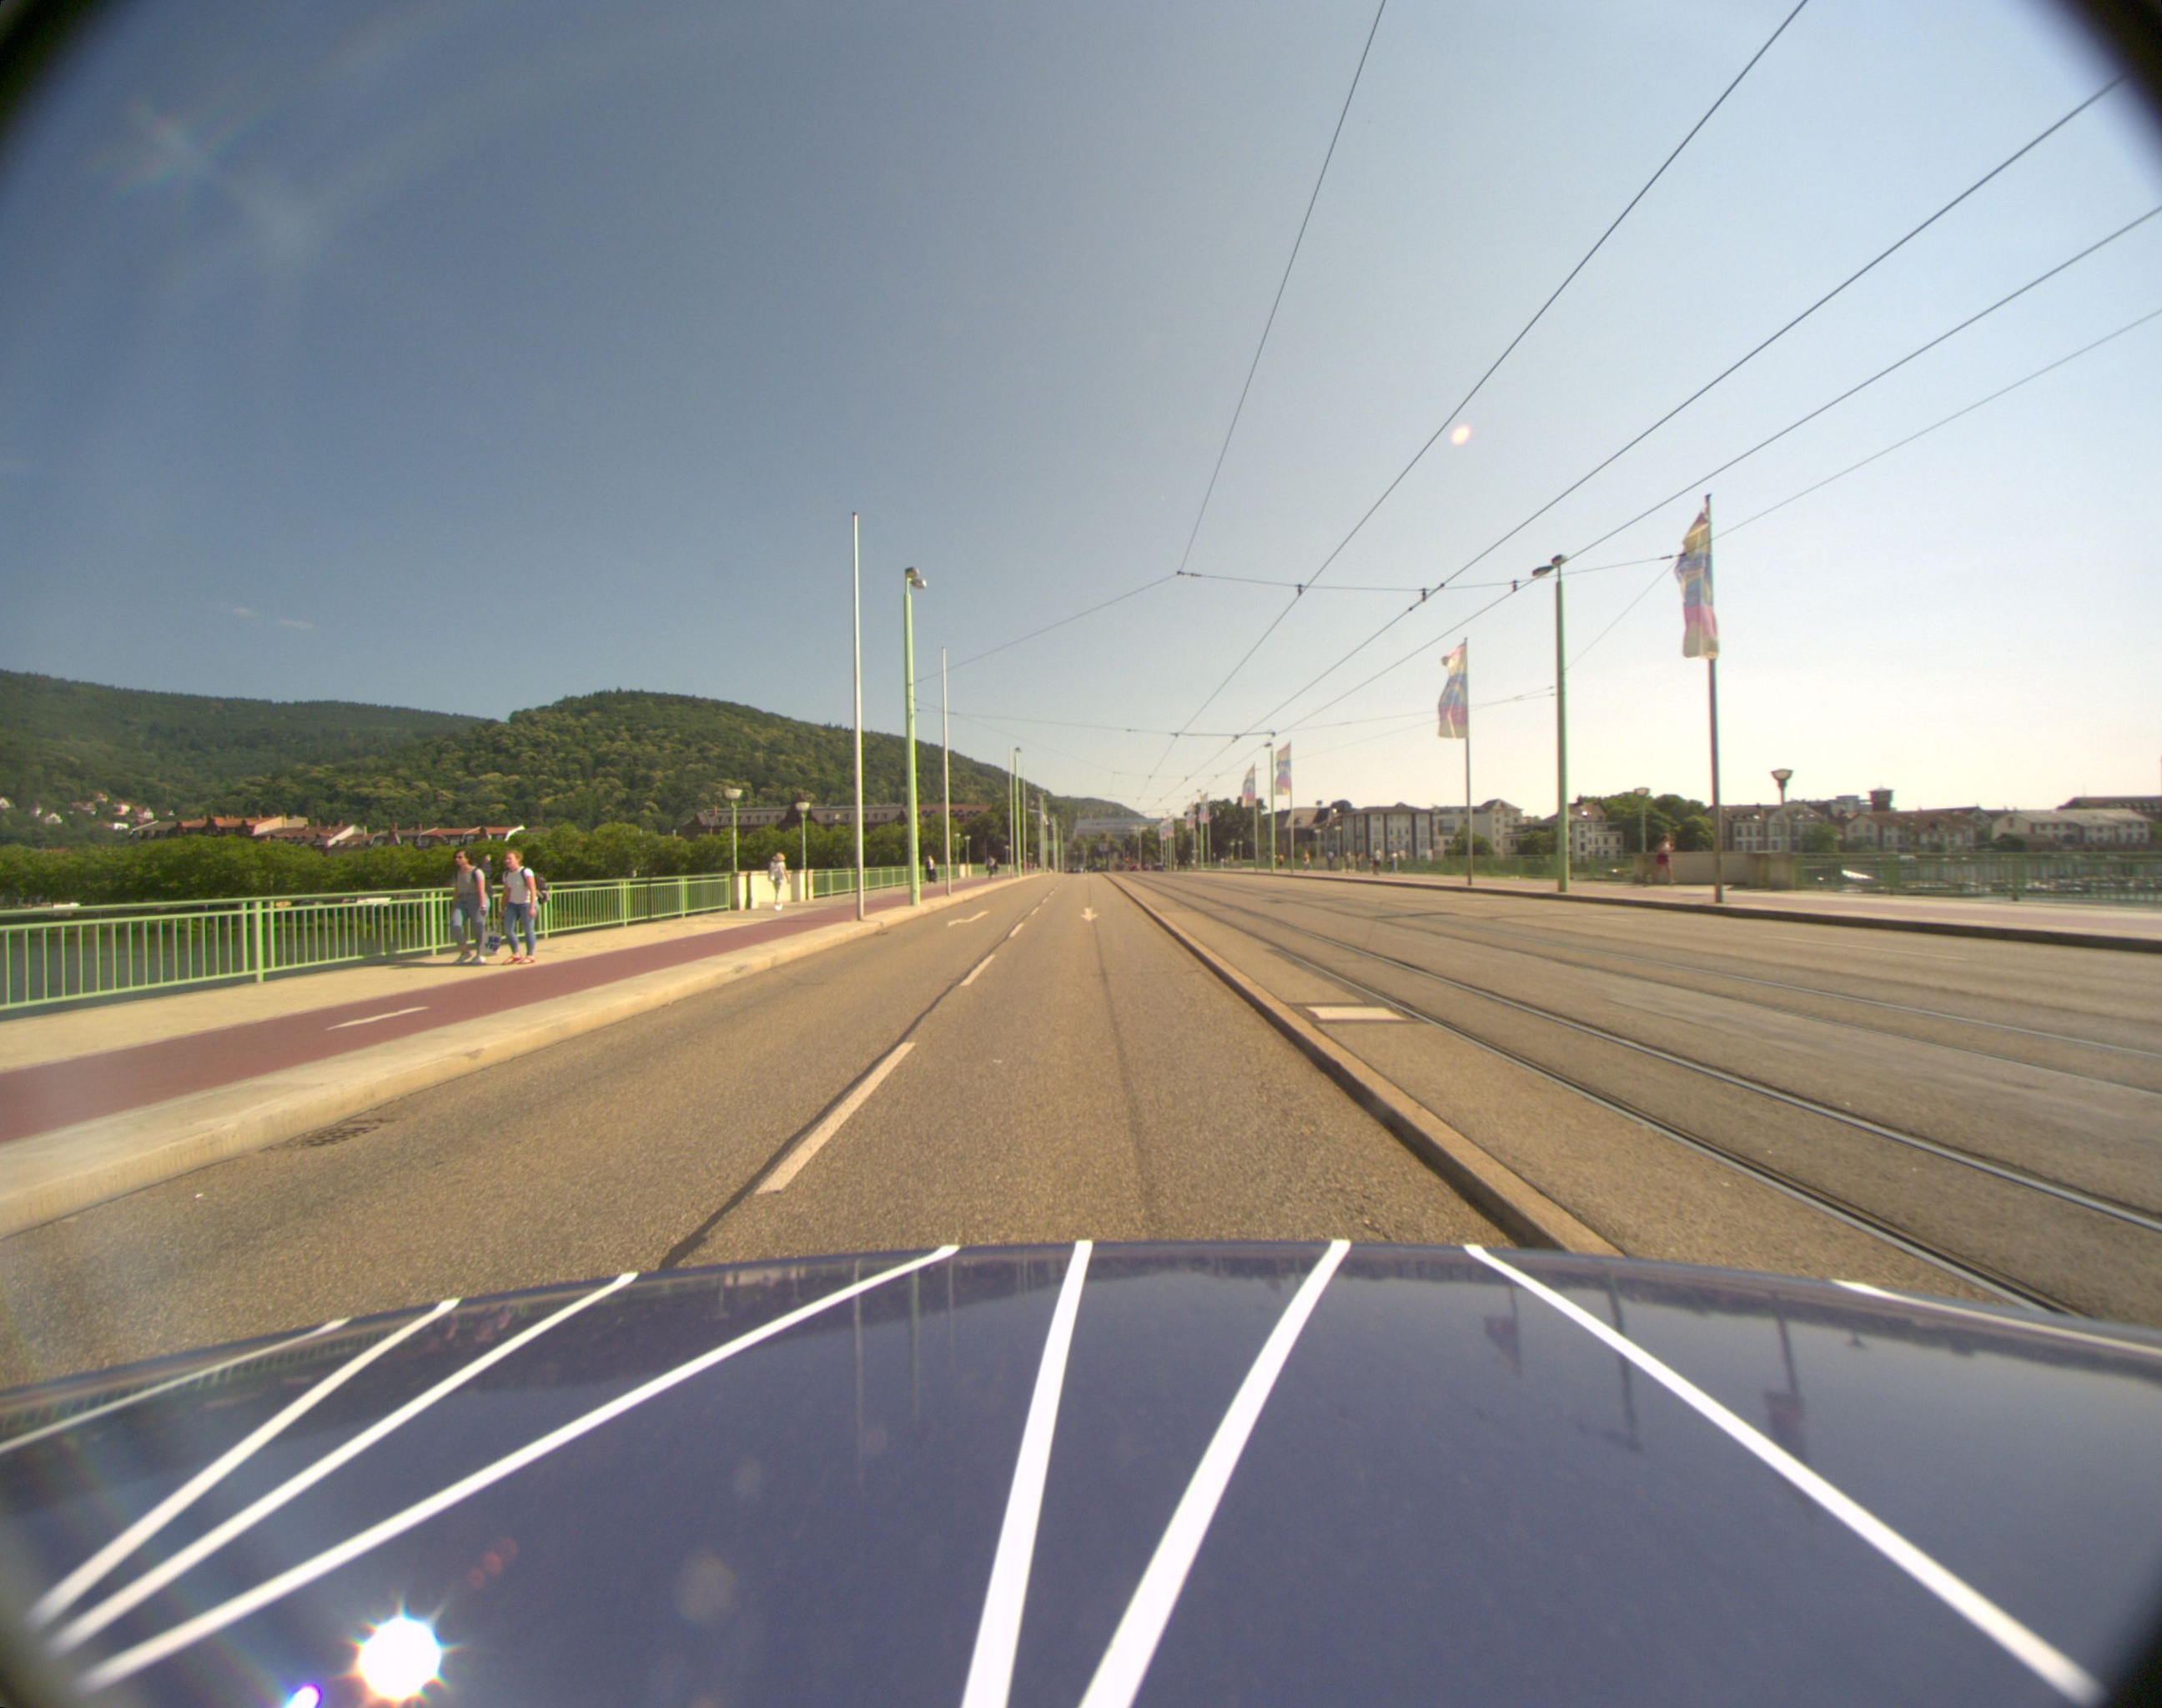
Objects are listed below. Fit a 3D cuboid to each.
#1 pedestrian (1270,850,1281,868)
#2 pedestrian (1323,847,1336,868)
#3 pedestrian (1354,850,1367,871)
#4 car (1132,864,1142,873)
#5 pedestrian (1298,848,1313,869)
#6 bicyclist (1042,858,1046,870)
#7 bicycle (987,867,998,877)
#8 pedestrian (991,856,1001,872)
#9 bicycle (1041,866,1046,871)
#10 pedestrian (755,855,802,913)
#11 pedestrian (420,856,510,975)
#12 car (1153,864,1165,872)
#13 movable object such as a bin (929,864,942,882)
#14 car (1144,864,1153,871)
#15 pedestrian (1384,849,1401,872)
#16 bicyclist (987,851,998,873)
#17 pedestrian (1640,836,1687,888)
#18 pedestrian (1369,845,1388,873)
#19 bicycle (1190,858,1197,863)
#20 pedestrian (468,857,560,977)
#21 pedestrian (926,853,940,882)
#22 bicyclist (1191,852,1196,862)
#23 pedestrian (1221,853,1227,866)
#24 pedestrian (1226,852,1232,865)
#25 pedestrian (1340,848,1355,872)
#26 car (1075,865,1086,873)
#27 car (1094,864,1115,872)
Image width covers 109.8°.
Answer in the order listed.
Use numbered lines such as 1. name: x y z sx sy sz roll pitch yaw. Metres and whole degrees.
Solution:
1. pedestrian: 19.181 0.517 74.951 0.787 1.690 1.022 -4 1 0
2. pedestrian: 19.711 0.274 60.298 0.592 1.690 1.022 -3 1 0
3. pedestrian: 19.483 0.421 53.045 0.547 1.429 0.789 -3 1 0
4. car: 11.596 2.973 157.639 1.714 1.686 4.000 -5 0 1
5. pedestrian: 18.512 0.370 62.672 0.787 1.690 1.022 -4 1 0
6. bicyclist: -5.712 1.485 116.327 0.587 1.759 0.672 0 1 1
7. bicycle: -6.749 1.355 58.044 0.595 0.761 1.866 0 0 1
8. pedestrian: -9.189 1.101 82.138 0.950 1.653 1.082 1 0 0
9. bicycle: -5.715 2.243 116.367 0.595 0.761 1.866 0 0 1
10. pedestrian: -8.932 0.870 22.447 0.950 1.653 1.082 0 1 0
11. pedestrian: -8.856 0.862 10.953 0.669 1.649 0.746 0 1 0
12. car: 14.216 2.509 138.449 1.721 1.446 3.901 0 0 0
13. movable object such as a bin: -8.776 1.139 45.961 0.583 1.084 0.933 0 0 0
14. car: 14.658 2.849 165.475 1.672 1.428 4.000 -1 1 1
15. pedestrian: 19.177 0.393 46.821 0.592 1.406 1.022 -3 0 0
16. bicyclist: -6.738 0.636 58.134 0.731 1.655 0.844 0 0 1
17. pedestrian: 19.395 0.263 25.320 0.686 1.680 1.022 -3 1 0
18. pedestrian: 18.370 0.296 46.971 0.671 1.690 1.022 -3 1 0
19. bicycle: 17.910 1.014 120.909 0.667 0.712 2.173 -1 0 1
20. pedestrian: -8.104 0.867 10.895 0.664 1.649 0.825 0 1 0
21. pedestrian: -8.785 0.814 45.133 0.664 1.696 0.859 0 1 0
22. bicyclist: 17.887 0.510 120.846 0.666 1.641 0.622 -1 1 1
23. pedestrian: 19.972 0.790 106.184 0.592 1.690 1.022 -6 0 0
24. pedestrian: 20.738 0.638 106.450 0.592 1.690 0.905 -6 0 0
25. pedestrian: 18.642 0.410 53.109 0.627 1.590 1.022 -3 1 0
26. car: -0.138 3.034 155.506 1.998 1.379 4.000 -6 0 1
27. car: 5.934 3.572 194.809 5.233 1.588 2.000 -3 1 1
